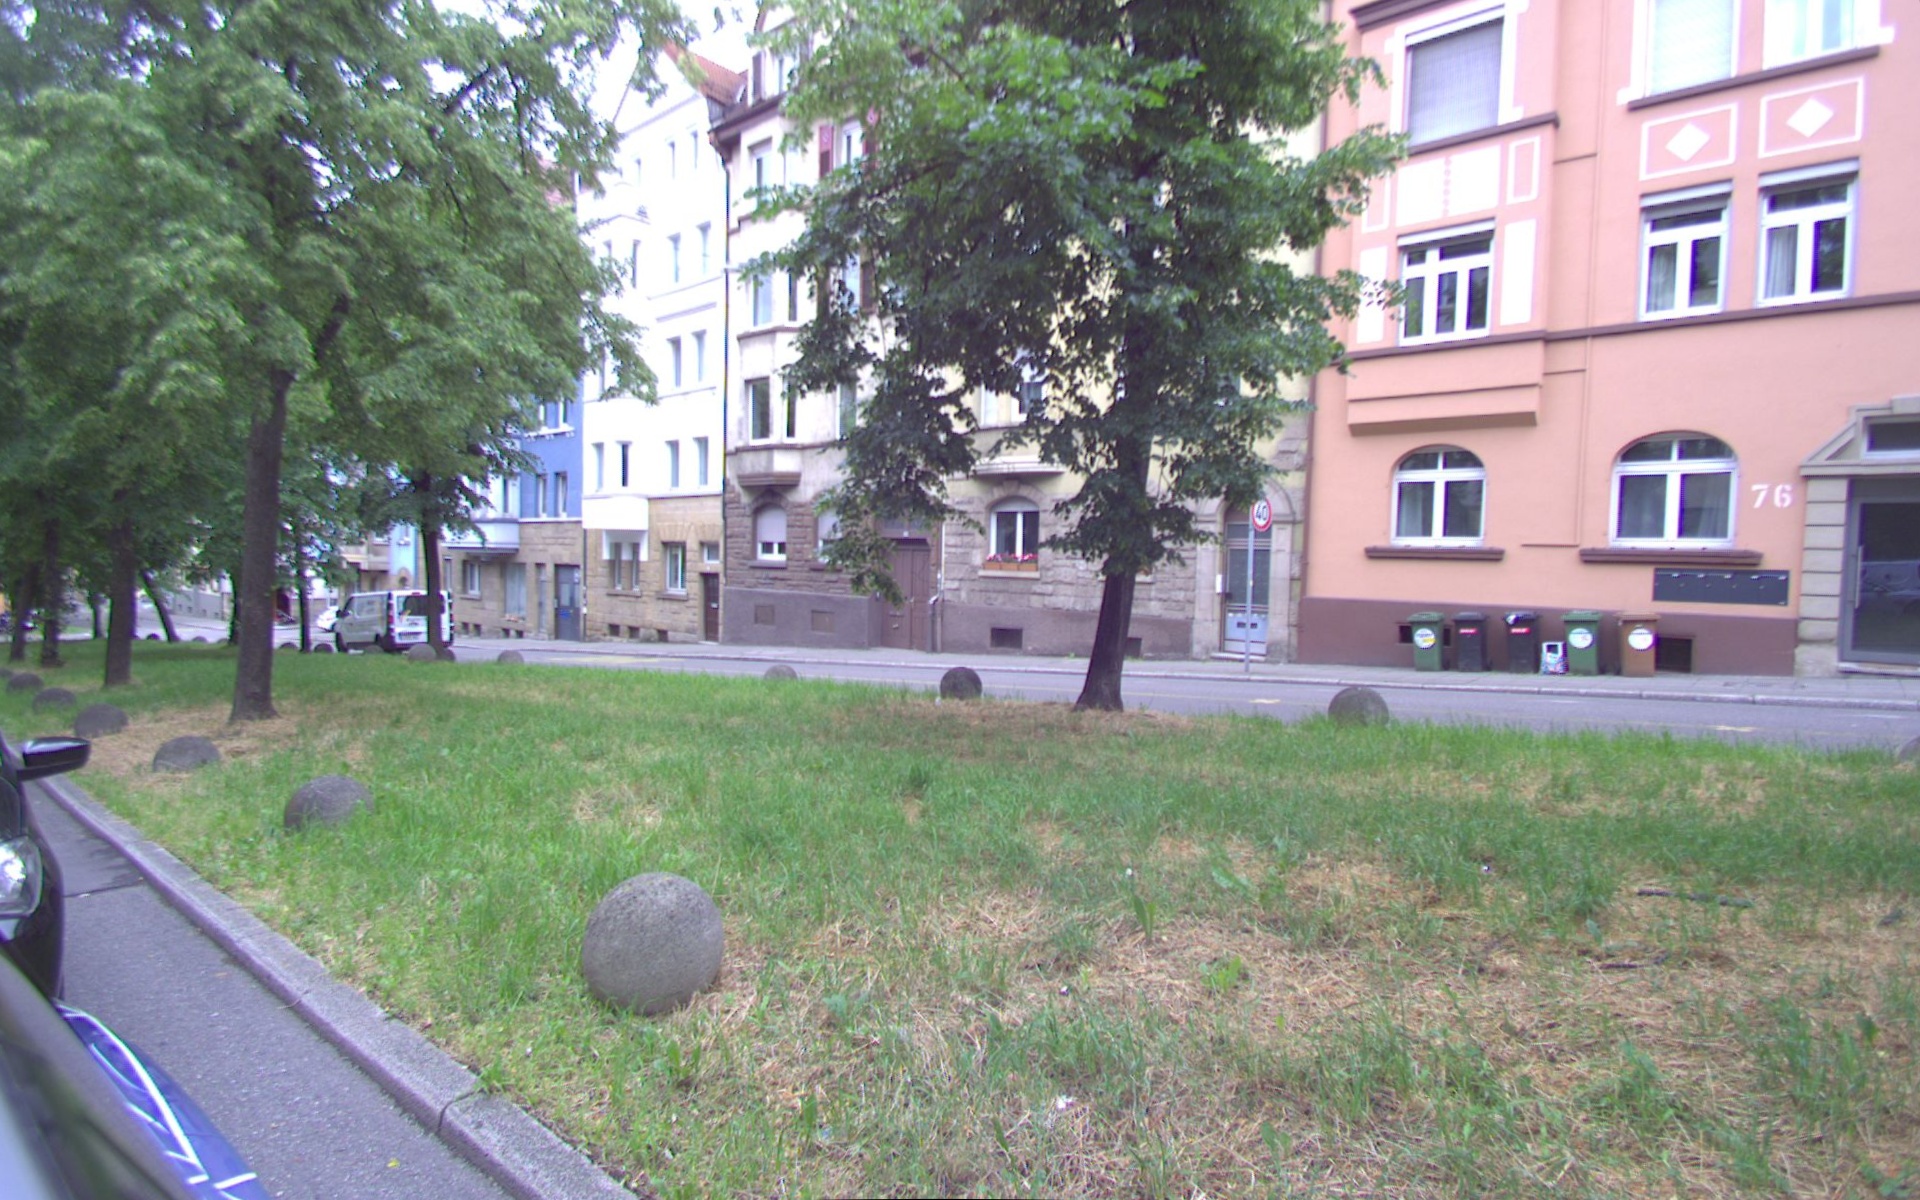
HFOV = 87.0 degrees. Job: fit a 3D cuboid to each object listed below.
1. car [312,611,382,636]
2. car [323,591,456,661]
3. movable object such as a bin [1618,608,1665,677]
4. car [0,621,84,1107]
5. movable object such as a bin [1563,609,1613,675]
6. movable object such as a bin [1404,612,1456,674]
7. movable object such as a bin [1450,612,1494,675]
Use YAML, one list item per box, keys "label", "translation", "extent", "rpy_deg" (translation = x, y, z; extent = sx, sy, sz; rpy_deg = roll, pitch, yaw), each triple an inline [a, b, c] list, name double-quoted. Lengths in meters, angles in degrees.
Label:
- label: "car"
  translation: [-35.409, 1.329, 58.452]
  extent: [3.244, 1.341, 1.674]
  rpy_deg: [-1, 0, -40]
- label: "car"
  translation: [-17.483, 0.775, 30.891]
  extent: [5.306, 1.959, 1.972]
  rpy_deg: [-2, 0, 42]
- label: "movable object such as a bin"
  translation: [9.657, 0.588, 14.334]
  extent: [0.514, 0.928, 0.750]
  rpy_deg: [-1, 0, 36]
- label: "car"
  translation: [-4.569, 0.808, 3.711]
  extent: [3.295, 1.476, 1.590]
  rpy_deg: [-1, -2, 41]
- label: "movable object such as a bin"
  translation: [9.161, 0.595, 14.754]
  extent: [0.558, 0.928, 0.648]
  rpy_deg: [-1, 0, 36]
- label: "movable object such as a bin"
  translation: [7.517, 0.668, 16.174]
  extent: [0.617, 0.955, 0.610]
  rpy_deg: [-1, 0, 40]
- label: "movable object such as a bin"
  translation: [7.986, 0.667, 15.793]
  extent: [0.531, 0.953, 0.575]
  rpy_deg: [-1, 0, 35]
